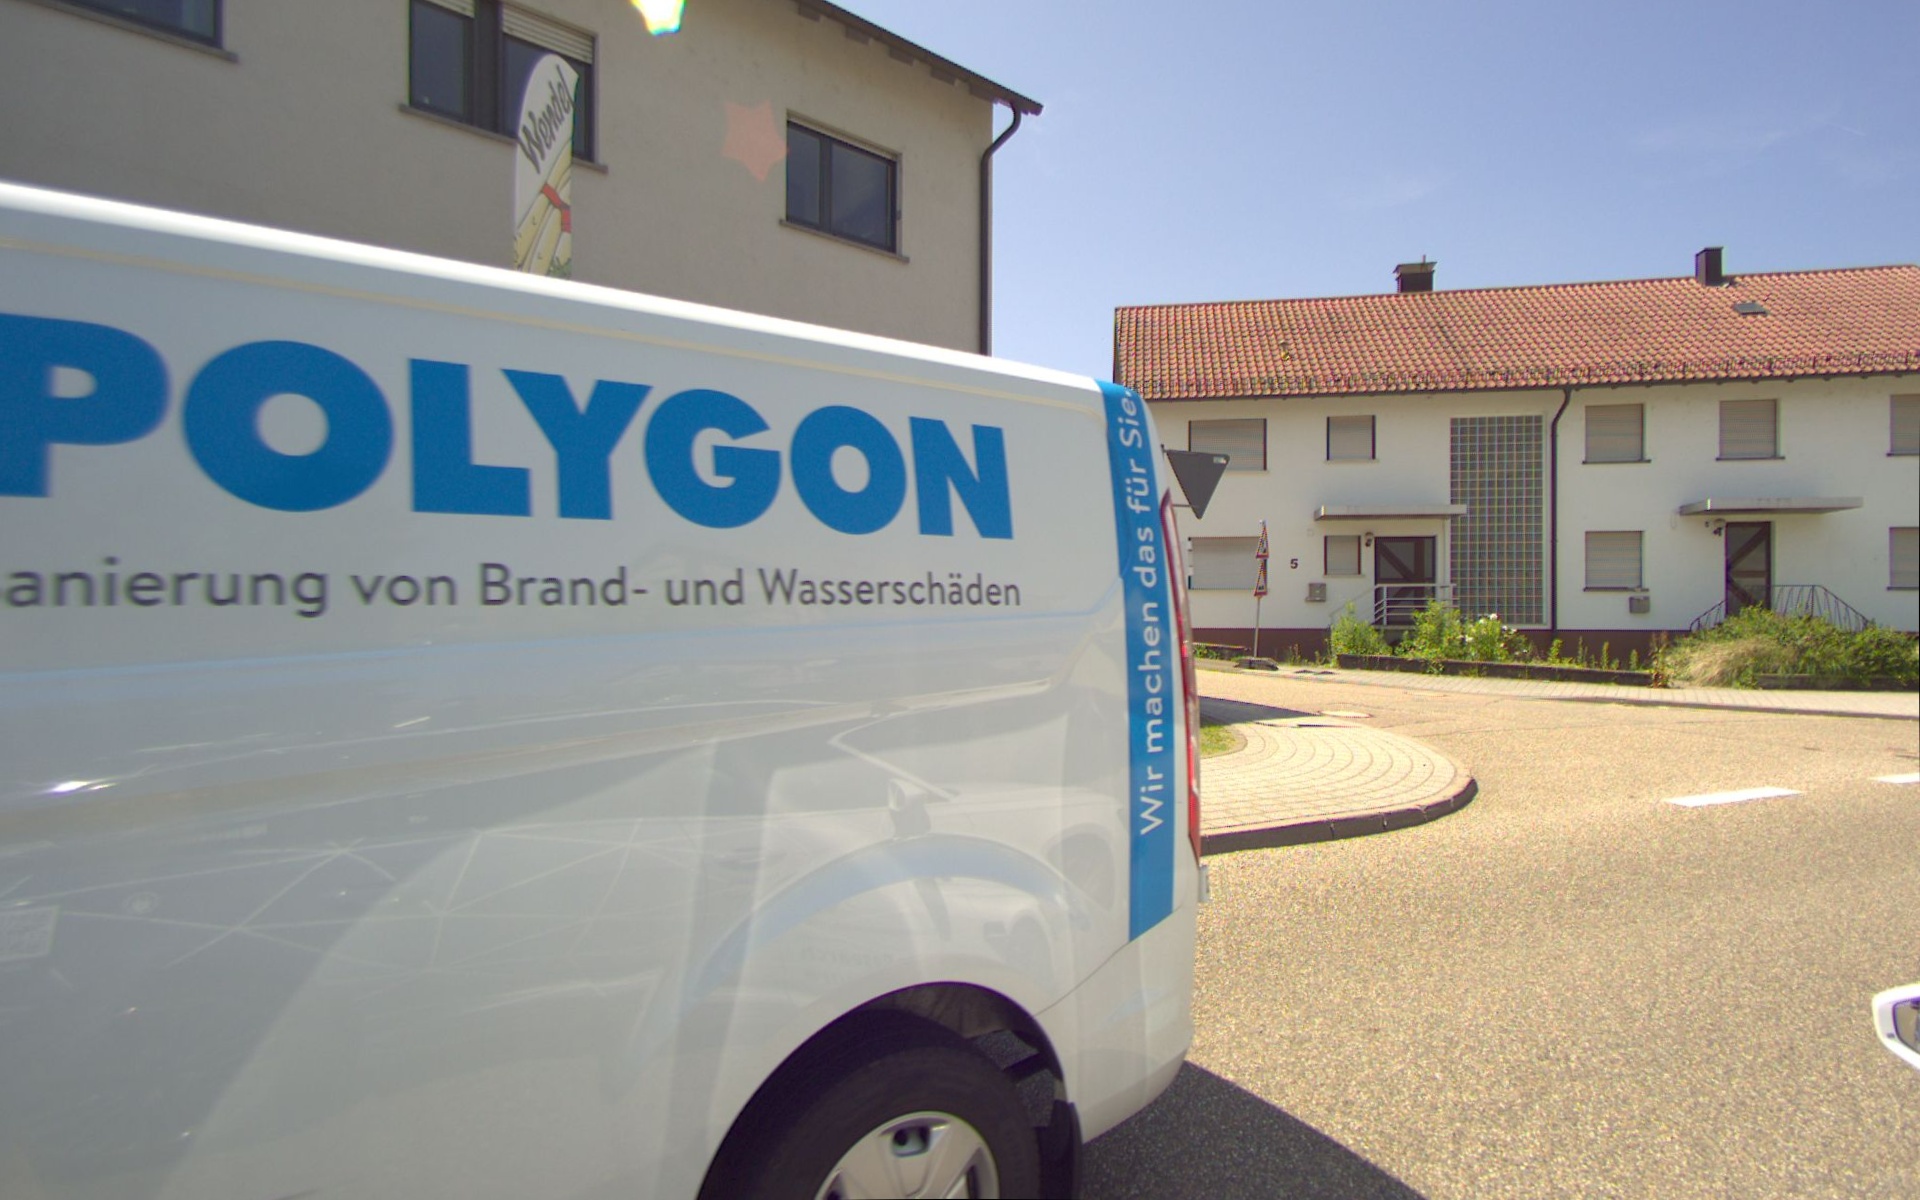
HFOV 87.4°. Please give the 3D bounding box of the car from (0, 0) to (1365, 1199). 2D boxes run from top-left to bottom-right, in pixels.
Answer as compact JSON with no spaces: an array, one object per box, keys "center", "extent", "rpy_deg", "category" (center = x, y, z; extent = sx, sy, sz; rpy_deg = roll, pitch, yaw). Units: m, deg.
[{"center":[-1.827,0.339,1.637],"extent":[5.158,2.026,1.982],"rpy_deg":[1,1,-33],"category":"car"}]
